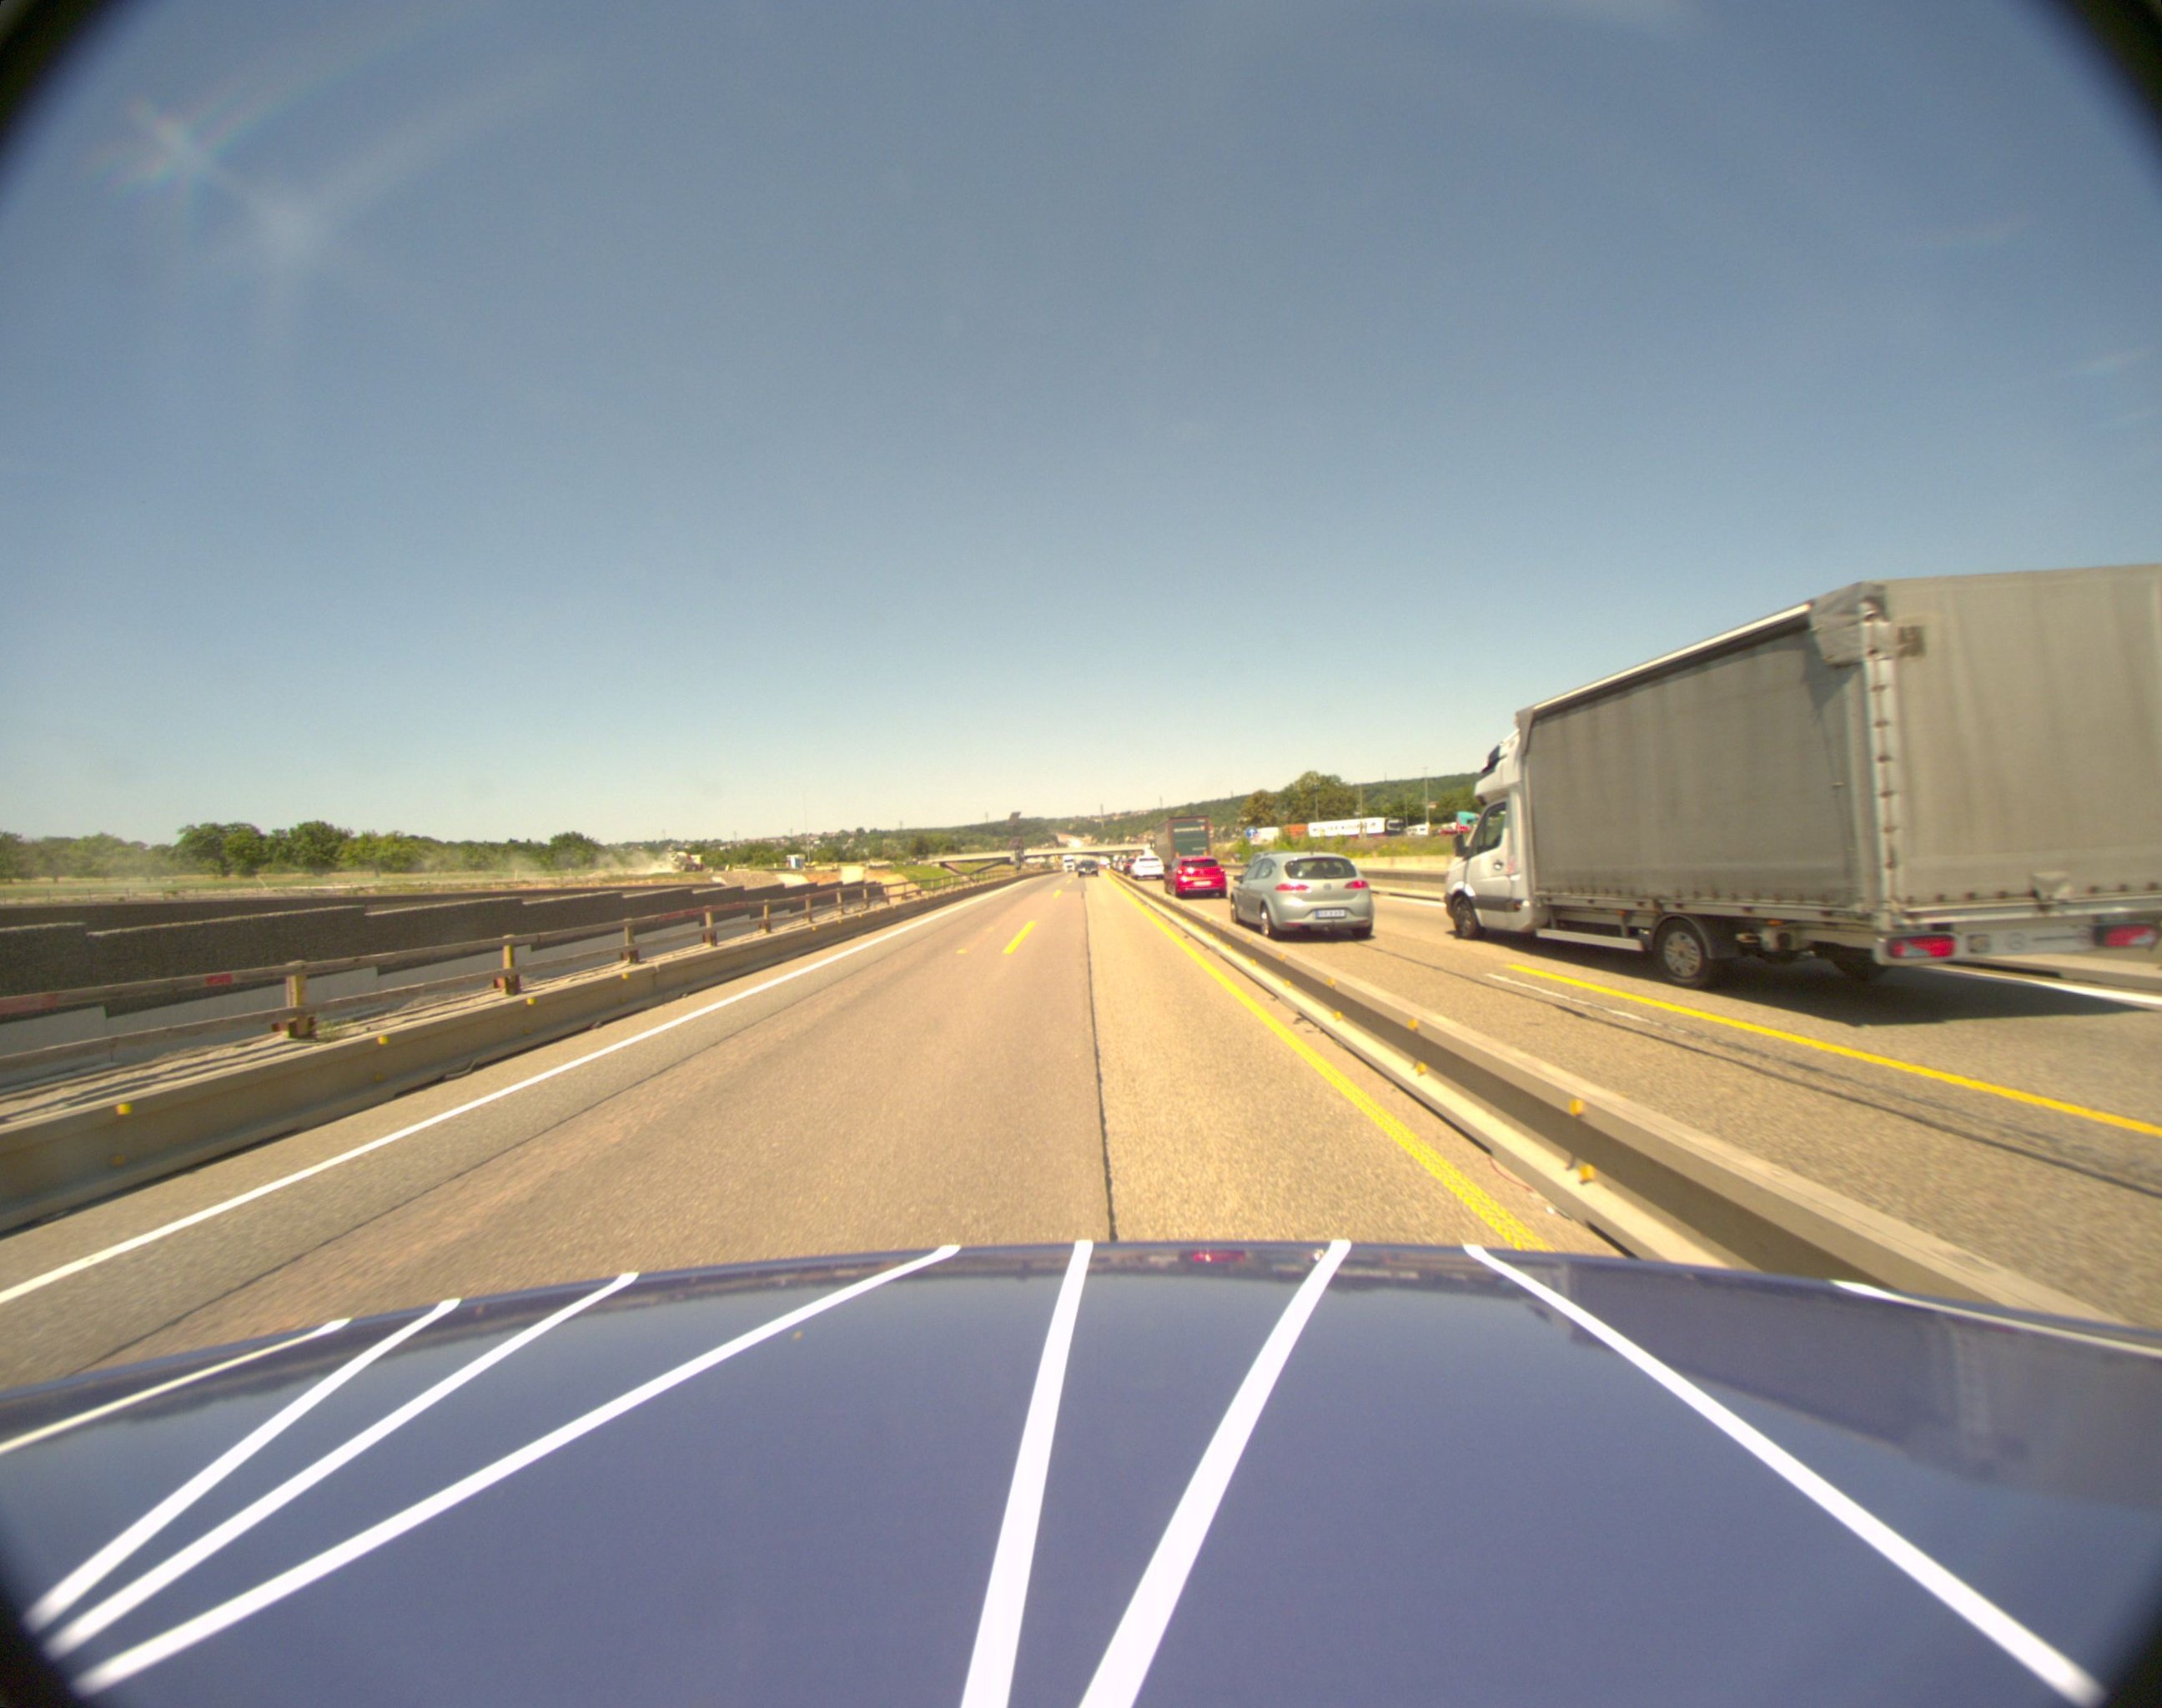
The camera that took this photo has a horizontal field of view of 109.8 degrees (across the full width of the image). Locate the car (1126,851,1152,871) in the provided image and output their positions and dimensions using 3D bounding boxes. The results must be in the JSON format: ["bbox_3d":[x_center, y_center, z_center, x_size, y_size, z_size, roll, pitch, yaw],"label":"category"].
[{"bbox_3d":[4.626,0.557,61.325,1.771,1.465,4.227,-2,0,0],"label":"car"}]

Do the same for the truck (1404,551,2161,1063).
[{"bbox_3d":[6.721,-0.333,8.999,2.395,3.365,7.714,-3,0,0],"label":"truck"}]

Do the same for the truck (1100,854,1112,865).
[{"bbox_3d":[7.411,1.669,225.882,3.397,2.939,6.085,-4,0,2],"label":"truck"}]

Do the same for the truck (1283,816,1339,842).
[{"bbox_3d":[46.745,-5.120,154.722,9.869,4.195,3.590,-6,1,43],"label":"truck"}]

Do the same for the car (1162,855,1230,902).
[{"bbox_3d":[3.864,0.766,26.111,1.653,1.426,3.999,-2,0,0],"label":"car"}]

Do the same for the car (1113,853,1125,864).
[{"bbox_3d":[5.665,0.721,113.873,1.651,1.563,3.945,-1,0,2],"label":"car"}]

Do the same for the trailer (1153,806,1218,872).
[{"bbox_3d":[7.452,-0.975,56.353,3.014,4.174,13.851,-3,0,1],"label":"trailer"}]

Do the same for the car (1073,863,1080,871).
[{"bbox_3d":[-1.291,3.735,214.981,1.739,2.002,3.876,-3,0,1],"label":"car"}]

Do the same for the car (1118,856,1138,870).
[{"bbox_3d":[4.660,0.886,75.094,1.714,1.344,3.890,-1,0,0],"label":"car"}]

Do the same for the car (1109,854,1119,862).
[{"bbox_3d":[5.940,0.764,139.062,1.651,1.359,3.945,-1,0,0],"label":"car"}]

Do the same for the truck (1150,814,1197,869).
[{"bbox_3d":[7.570,-1.001,62.997,3.014,4.178,6.283,-3,0,1],"label":"truck"}]

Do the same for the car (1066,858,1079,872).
[{"bbox_3d":[-1.850,2.510,176.471,2.544,3.126,7.547,-4,0,1],"label":"car"}]

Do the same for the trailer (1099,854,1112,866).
[{"bbox_3d":[7.146,1.697,217.936,3.397,2.939,9.784,-4,0,2],"label":"trailer"}]

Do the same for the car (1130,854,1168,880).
[{"bbox_3d":[4.202,0.751,47.656,1.901,1.484,4.760,-2,0,0],"label":"car"}]

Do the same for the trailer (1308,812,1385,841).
[{"bbox_3d":[47.213,-4.804,135.690,12.722,3.762,2.625,-6,1,45],"label":"trailer"}]

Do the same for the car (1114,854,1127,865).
[{"bbox_3d":[8.445,1.176,162.861,2.416,2.106,5.315,-4,0,0],"label":"car"}]

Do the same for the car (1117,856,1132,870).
[{"bbox_3d":[5.207,1.055,91.624,1.651,1.592,4.491,-2,0,2],"label":"car"}]

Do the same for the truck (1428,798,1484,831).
[{"bbox_3d":[52.089,-5.472,105.531,6.131,3.728,2.838,-6,1,45],"label":"truck"}]

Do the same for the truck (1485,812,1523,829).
[{"bbox_3d":[75.654,-5.910,136.001,2.548,2.589,7.778,-4,0,1],"label":"truck"}]

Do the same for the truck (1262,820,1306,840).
[{"bbox_3d":[46.269,-5.491,173.162,9.135,3.522,2.696,-6,1,44],"label":"truck"}]

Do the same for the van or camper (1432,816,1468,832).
[{"bbox_3d":[75.412,-6.057,155.497,2.761,2.717,8.594,-3,0,-3],"label":"van or camper"}]

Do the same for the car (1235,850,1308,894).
[{"bbox_3d":[6.973,0.616,28.164,1.627,1.439,3.785,-3,0,-1],"label":"car"}]

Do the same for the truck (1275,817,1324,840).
[{"bbox_3d":[46.322,-5.404,161.324,9.253,3.653,2.867,-6,0,44],"label":"truck"}]

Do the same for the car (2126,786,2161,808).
[{"bbox_3d":[94.375,-5.049,65.985,3.989,1.823,1.746,-2,0,43],"label":"car"}]

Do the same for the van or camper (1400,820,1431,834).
[{"bbox_3d":[75.360,-6.091,171.508,2.761,2.717,8.594,-3,0,-3],"label":"van or camper"}]

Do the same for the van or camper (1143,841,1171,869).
[{"bbox_3d":[8.466,0.125,85.193,2.442,2.900,7.824,-2,0,2],"label":"van or camper"}]

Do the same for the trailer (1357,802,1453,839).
[{"bbox_3d":[46.969,-4.794,110.676,12.348,4.142,2.865,-6,1,45],"label":"trailer"}]

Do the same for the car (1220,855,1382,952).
[{"bbox_3d":[3.812,0.777,13.911,1.686,1.420,4.201,-2,0,0],"label":"car"}]

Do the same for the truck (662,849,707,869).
[{"bbox_3d":[-72.149,0.873,138.431,3.155,3.445,8.756,-4,0,1],"label":"truck"}]

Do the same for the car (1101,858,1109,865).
[{"bbox_3d":[5.405,1.644,168.502,1.651,1.359,3.945,-1,0,0],"label":"car"}]

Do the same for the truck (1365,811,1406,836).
[{"bbox_3d":[52.363,-5.205,130.751,5.724,3.597,2.584,-6,1,41],"label":"truck"}]

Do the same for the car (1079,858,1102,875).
[{"bbox_3d":[0.810,1.045,63.838,1.810,1.299,4.000,-2,0,1],"label":"car"}]
